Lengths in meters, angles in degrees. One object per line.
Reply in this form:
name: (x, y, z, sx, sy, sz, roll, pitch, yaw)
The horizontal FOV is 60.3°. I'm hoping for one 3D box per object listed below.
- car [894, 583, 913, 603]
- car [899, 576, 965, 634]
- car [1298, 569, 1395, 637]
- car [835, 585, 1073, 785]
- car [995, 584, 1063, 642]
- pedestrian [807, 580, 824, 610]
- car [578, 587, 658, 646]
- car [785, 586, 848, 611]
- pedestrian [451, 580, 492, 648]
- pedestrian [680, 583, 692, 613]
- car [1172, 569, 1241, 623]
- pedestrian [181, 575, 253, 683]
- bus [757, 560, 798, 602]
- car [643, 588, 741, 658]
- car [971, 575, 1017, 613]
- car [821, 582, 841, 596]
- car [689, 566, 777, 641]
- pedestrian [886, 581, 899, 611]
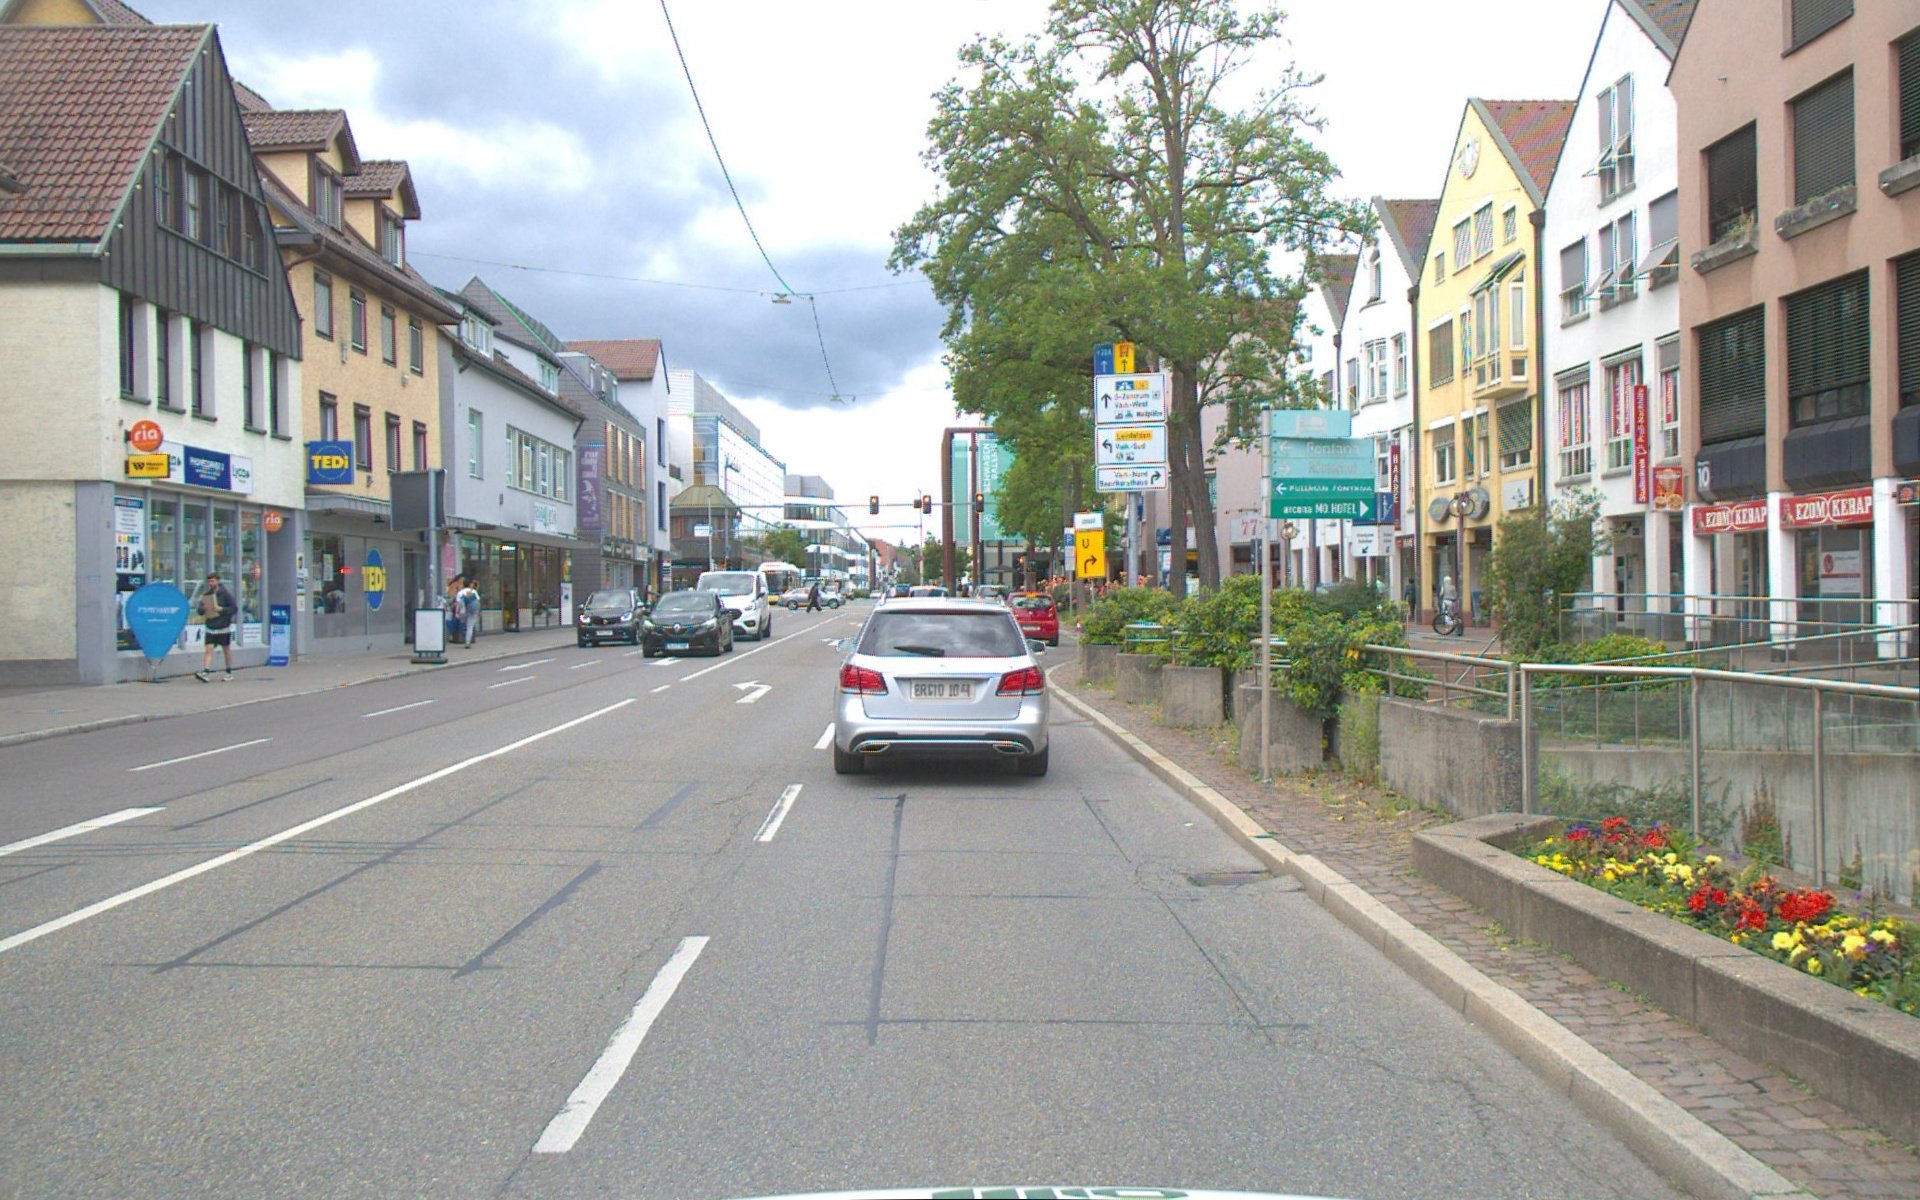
car: (-5.969, -0.756, 174.245, 1.953, 2.049, 3.999, -1, 1, -2)
car: (-0.886, 0.137, 51.749, 1.953, 1.713, 3.999, -1, 1, -1)
car: (11.326, 0.058, 48.713, 1.829, 1.897, 3.999, -1, 1, -1)
car: (-0.153, 0.641, 14.804, 1.837, 1.532, 3.997, 0, 0, -3)
car: (1.912, 0.399, 47.005, 1.718, 1.547, 3.999, -1, -1, 0)
pedestrian: (-8.189, -0.269, 93.774, 0.840, 1.663, 0.588, 2, 1, 0)
car: (-9.646, 0.435, 46.901, 1.584, 1.550, 3.507, -2, 1, -2)
car: (-9.447, -0.125, 109.240, 4.016, 1.568, 1.580, -1, 0, -1)
pedestrian: (-12.336, 0.347, 41.789, 0.801, 1.663, 0.979, 1, 0, -7)
pedestrian: (-15.446, -0.130, 93.245, 0.574, 1.663, 0.614, 2, 1, -4)
car: (9.027, -0.170, 60.829, 1.829, 1.897, 3.999, -1, 1, -1)
pedestrian: (-12.607, 0.475, 28.100, 0.850, 1.777, 0.805, 2, 1, -6)
bus: (-14.611, -1.515, 132.602, 2.719, 3.220, 5.931, -1, 1, -1)
car: (-5.994, 0.475, 37.395, 1.584, 1.453, 3.922, -1, 1, -1)
car: (1.568, -0.288, 77.023, 1.953, 1.713, 3.999, -1, 1, -1)
car: (-11.496, -0.984, 147.635, 1.543, 1.266, 3.606, -1, 1, -1)
car: (-6.529, 0.081, 48.073, 1.922, 1.995, 5.138, -2, 0, -1)
pedestrian: (-3.754, -0.211, 92.296, 0.602, 1.663, 0.586, 2, 1, -10)
